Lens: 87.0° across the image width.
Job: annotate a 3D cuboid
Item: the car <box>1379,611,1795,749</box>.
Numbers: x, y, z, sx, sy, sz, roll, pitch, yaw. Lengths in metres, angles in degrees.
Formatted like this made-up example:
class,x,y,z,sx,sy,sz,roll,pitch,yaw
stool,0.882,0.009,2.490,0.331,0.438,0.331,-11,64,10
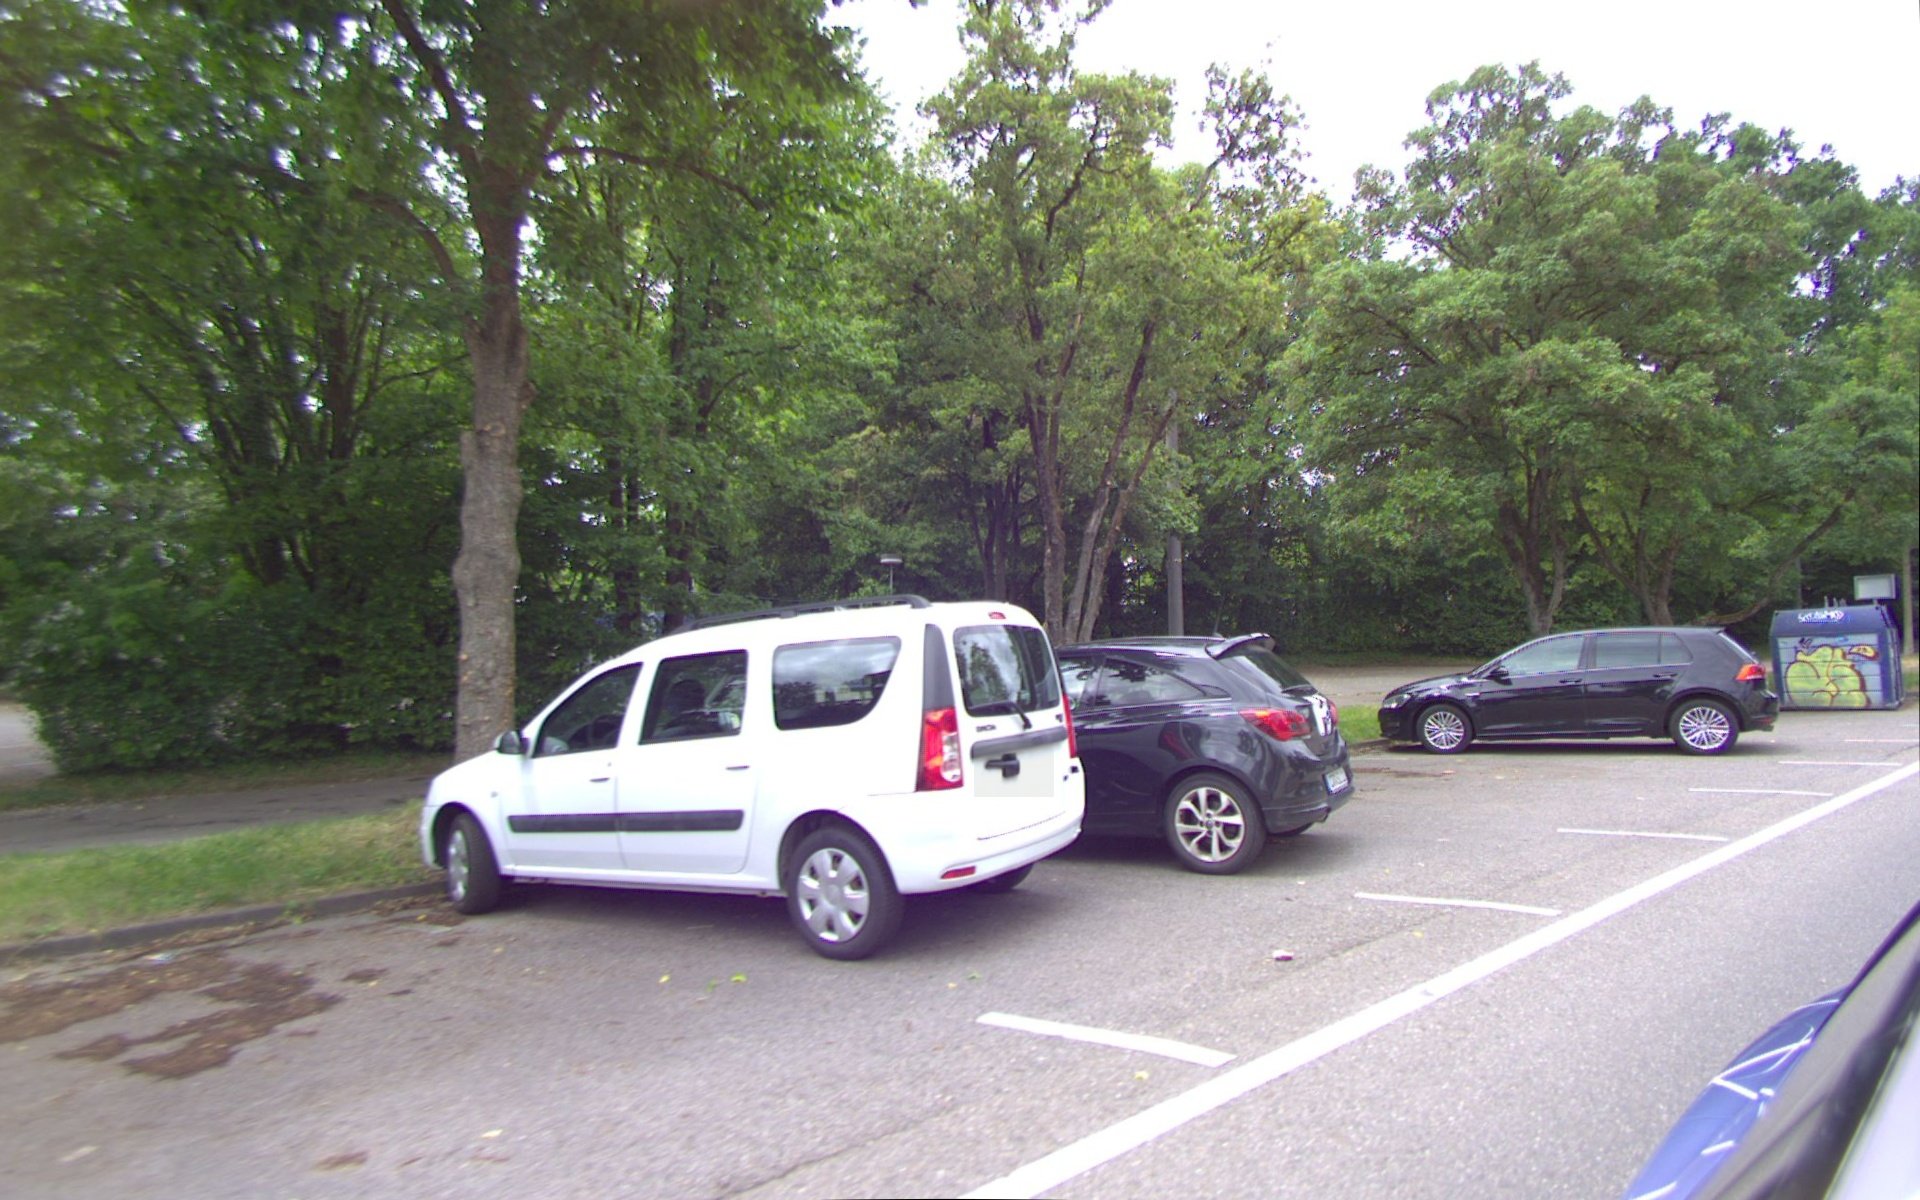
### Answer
class,x,y,z,sx,sy,sz,roll,pitch,yaw
car,7.517,1.021,12.523,3.967,1.433,2.034,-6,-5,32

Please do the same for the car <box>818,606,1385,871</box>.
class,x,y,z,sx,sy,sz,roll,pitch,yaw
car,0.910,0.959,7.576,3.808,1.488,1.722,-6,-5,38

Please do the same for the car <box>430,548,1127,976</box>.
class,x,y,z,sx,sy,sz,roll,pitch,yaw
car,-1.189,0.820,5.987,3.803,1.742,1.855,-6,-4,34
